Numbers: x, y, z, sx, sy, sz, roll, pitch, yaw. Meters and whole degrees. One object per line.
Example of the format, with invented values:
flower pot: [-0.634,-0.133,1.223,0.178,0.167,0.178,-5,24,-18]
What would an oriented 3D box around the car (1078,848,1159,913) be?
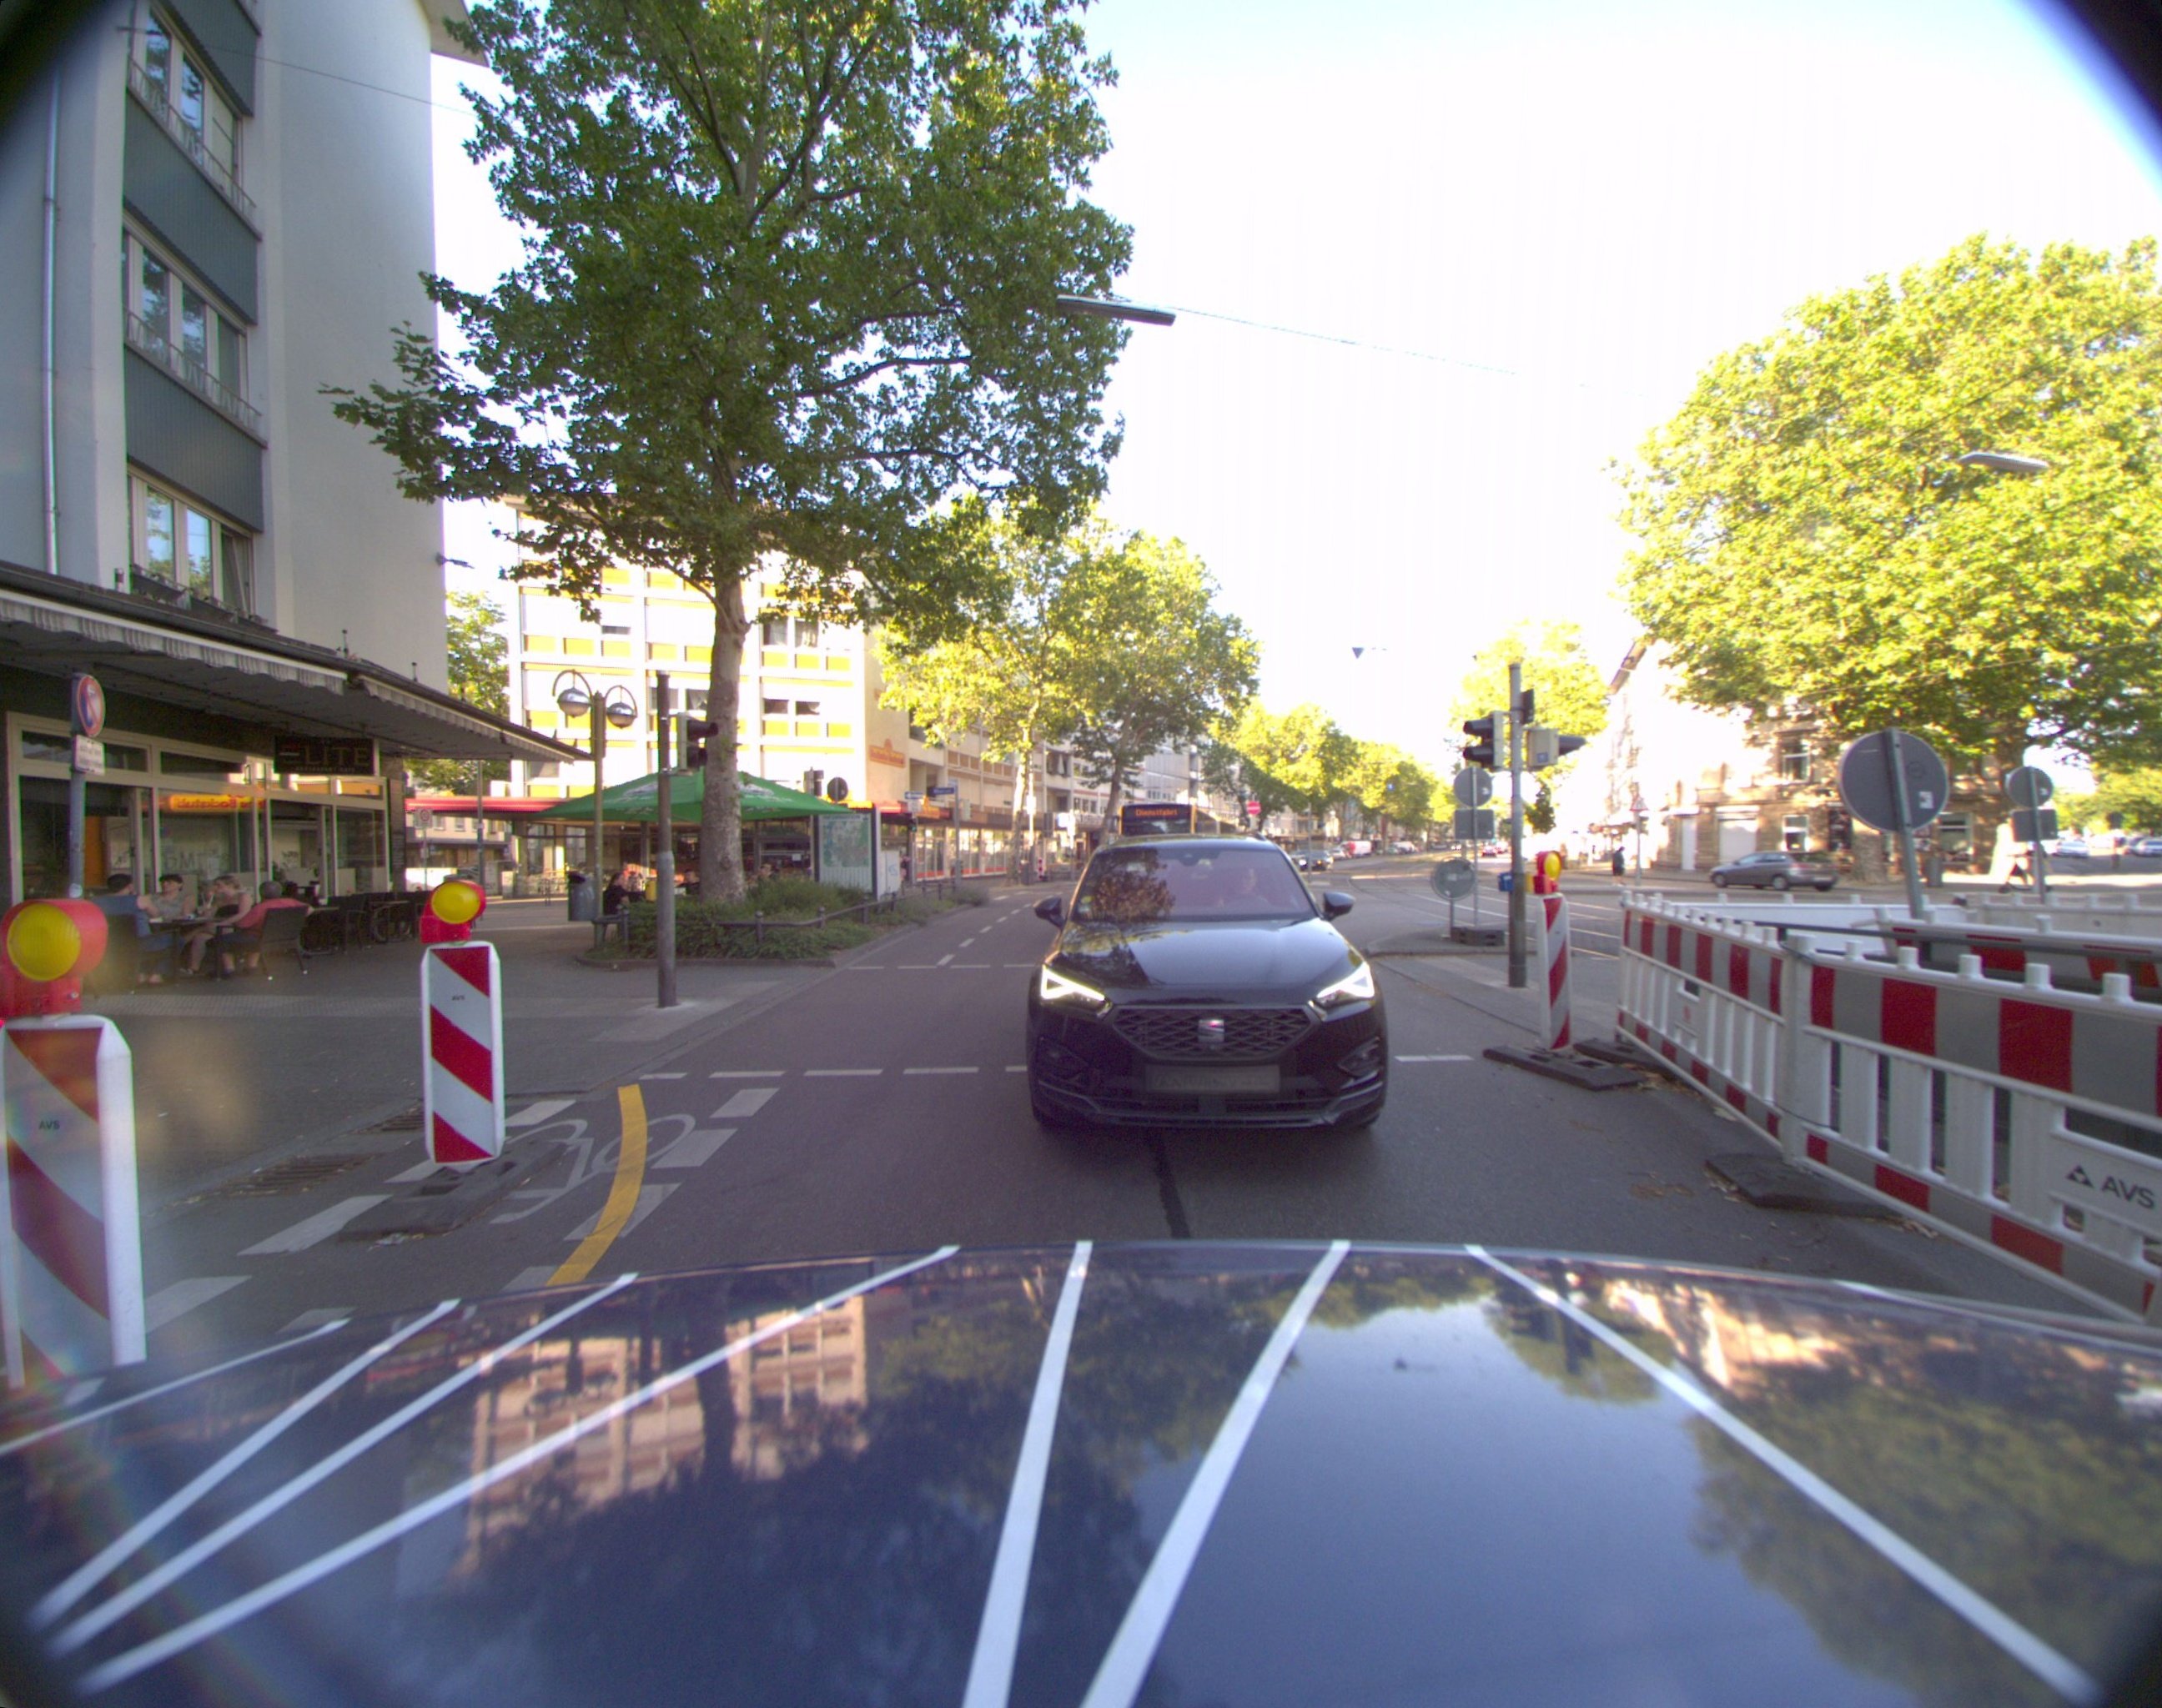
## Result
car: [1.097,0.624,20.156,1.743,1.492,4.301,-2,0,7]

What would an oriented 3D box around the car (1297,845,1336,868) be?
car: [16.893,0.170,54.392,1.952,1.467,4.764,0,2,26]

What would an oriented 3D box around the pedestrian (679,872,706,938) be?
pedestrian: [-7.416,0.961,14.490,0.433,1.212,0.467,0,1,-29]

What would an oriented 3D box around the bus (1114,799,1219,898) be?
bus: [3.522,-0.226,28.621,2.750,3.085,9.506,0,1,14]

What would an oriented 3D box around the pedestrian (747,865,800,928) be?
pedestrian: [-6.546,0.885,16.191,0.718,1.278,0.769,-1,1,13]

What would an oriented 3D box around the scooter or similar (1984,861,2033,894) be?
scooter or similar: [29.723,0.751,24.352,0.309,1.033,0.979,-2,1,-40]

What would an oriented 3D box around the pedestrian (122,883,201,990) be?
pedestrian: [-11.247,0.987,9.298,0.519,1.236,0.553,0,0,34]

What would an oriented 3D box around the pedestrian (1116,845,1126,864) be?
pedestrian: [3.388,0.049,64.188,0.658,1.632,0.660,0,1,26]

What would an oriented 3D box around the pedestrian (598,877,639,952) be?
pedestrian: [-7.798,1.012,12.808,0.469,1.212,0.431,-2,1,-44]

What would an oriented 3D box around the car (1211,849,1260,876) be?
car: [9.446,0.492,46.238,1.908,1.467,4.425,0,2,26]

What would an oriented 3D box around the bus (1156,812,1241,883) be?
bus: [6.058,-0.337,37.736,2.749,3.085,9.508,0,1,17]

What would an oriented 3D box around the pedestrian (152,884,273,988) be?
pedestrian: [-10.697,0.986,9.386,0.666,1.211,0.717,0,0,-5]

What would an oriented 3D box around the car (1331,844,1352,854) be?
car: [36.704,-0.650,107.068,2.627,1.338,1.201,-1,2,3]

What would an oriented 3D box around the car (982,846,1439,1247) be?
car: [0.680,0.803,5.317,1.848,1.648,4.300,-2,0,4]

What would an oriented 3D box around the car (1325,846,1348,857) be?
car: [32.900,-0.315,97.845,2.627,1.274,1.201,-1,2,3]

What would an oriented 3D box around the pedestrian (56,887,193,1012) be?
pedestrian: [-10.224,0.984,8.155,0.651,1.244,0.716,0,0,-24]

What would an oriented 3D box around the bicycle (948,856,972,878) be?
bicycle: [-6.674,0.698,42.039,0.528,1.136,1.976,-1,1,15]

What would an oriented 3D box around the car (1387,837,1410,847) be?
car: [64.312,-2.484,153.876,4.000,2.002,1.879,-1,1,-8]

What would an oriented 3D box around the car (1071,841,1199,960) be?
car: [0.965,0.642,12.792,1.743,1.630,4.300,-2,0,6]

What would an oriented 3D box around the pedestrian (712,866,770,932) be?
pedestrian: [-6.813,0.889,15.267,0.718,1.278,0.769,-1,1,14]

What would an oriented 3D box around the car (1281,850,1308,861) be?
car: [23.917,0.142,85.030,2.629,1.209,1.200,-1,2,-6]

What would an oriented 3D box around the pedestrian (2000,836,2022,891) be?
pedestrian: [29.928,0.312,24.463,0.355,1.757,0.418,-2,1,-41]

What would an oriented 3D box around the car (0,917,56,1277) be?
car: [-5.153,0.992,1.432,1.623,1.457,3.604,2,0,-2]

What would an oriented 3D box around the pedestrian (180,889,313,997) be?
pedestrian: [-9.852,1.019,9.006,0.847,1.191,0.649,1,0,-22]

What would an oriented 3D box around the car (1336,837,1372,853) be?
car: [40.629,-1.319,113.124,4.868,2.362,1.878,-1,2,-10]

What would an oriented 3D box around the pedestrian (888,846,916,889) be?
pedestrian: [-7.501,0.552,31.864,0.748,1.747,0.903,0,1,17]

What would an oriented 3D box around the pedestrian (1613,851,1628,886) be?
pedestrian: [20.152,0.542,28.381,0.365,1.301,0.402,0,1,18]

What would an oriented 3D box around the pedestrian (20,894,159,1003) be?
pedestrian: [-11.091,1.027,8.529,0.718,1.123,0.649,1,0,-24]

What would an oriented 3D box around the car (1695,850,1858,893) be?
car: [24.907,0.565,27.412,1.886,1.401,3.995,-1,1,-12]

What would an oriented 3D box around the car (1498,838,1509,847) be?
car: [89.629,-2.521,161.178,1.903,1.893,4.007,0,1,29]

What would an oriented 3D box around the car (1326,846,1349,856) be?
car: [34.049,-0.401,100.946,2.627,1.274,1.201,-1,2,3]

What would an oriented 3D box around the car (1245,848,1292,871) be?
car: [13.648,0.359,55.038,1.952,1.541,4.765,0,2,31]

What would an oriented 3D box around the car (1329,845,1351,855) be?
car: [35.456,-0.550,104.231,2.627,1.380,1.201,-1,2,3]

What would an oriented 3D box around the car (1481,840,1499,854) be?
car: [55.478,-0.926,103.133,1.994,1.856,4.007,0,1,31]

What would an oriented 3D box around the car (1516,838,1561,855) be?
car: [52.204,-0.842,86.705,3.999,1.904,1.998,-1,1,-7]
